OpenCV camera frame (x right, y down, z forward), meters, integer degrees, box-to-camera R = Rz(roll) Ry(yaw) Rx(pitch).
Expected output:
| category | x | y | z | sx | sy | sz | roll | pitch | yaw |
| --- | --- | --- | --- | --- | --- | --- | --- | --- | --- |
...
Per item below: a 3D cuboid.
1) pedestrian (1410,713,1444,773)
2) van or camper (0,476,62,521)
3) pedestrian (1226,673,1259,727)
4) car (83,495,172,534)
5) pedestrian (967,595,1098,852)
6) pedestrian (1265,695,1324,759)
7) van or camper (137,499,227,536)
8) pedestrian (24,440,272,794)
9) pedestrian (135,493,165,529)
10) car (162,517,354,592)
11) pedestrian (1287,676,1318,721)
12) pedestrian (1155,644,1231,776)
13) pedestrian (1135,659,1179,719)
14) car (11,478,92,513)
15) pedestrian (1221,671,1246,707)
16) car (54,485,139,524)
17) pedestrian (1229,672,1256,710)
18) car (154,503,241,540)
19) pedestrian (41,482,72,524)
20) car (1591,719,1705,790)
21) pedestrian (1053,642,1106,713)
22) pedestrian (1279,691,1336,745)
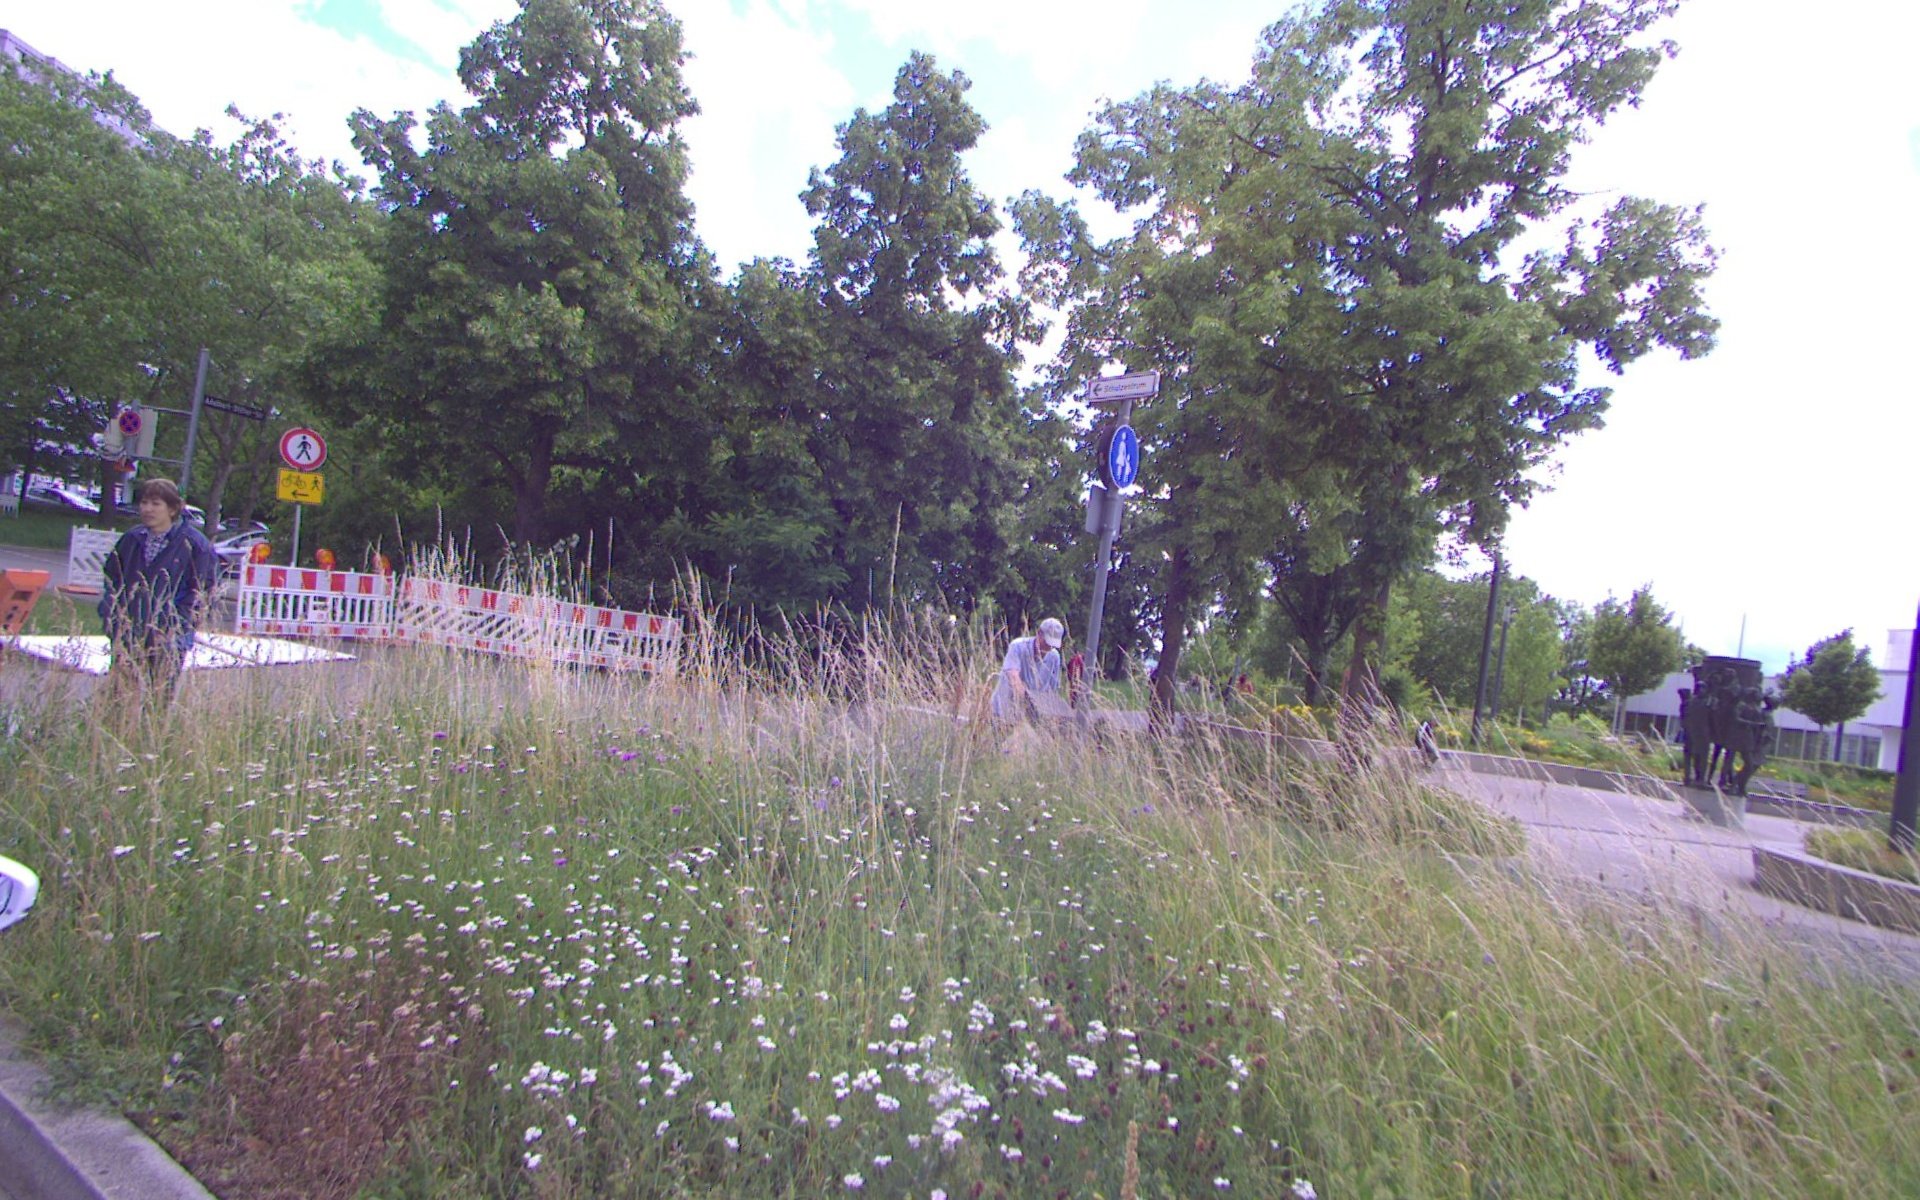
| category | x | y | z | sx | sy | sz | roll | pitch | yaw |
| --- | --- | --- | --- | --- | --- | --- | --- | --- | --- |
| pedestrian | 10.758 | 3.283 | 23.177 | 0.560 | 1.277 | 0.582 | 7 | -1 | 29 |
| van or camper | -44.309 | -4.849 | 46.497 | 3.925 | 1.704 | 1.847 | 8 | -1 | 4 |
| pedestrian | 8.537 | 3.024 | 30.401 | 0.624 | 1.519 | 0.704 | 7 | 0 | 29 |
| car | -43.772 | -4.496 | 52.938 | 3.345 | 1.420 | 1.486 | 7 | -2 | 2 |
| pedestrian | 0.536 | 0.920 | 7.769 | 0.715 | 1.812 | 0.693 | 8 | 0 | -2 |
| pedestrian | 5.221 | 1.965 | 15.689 | 0.685 | 0.874 | 0.651 | 7 | 0 | 28 |
| van or camper | -43.646 | -4.614 | 56.511 | 3.706 | 1.372 | 1.519 | 8 | -2 | -1 |
| pedestrian | -4.494 | 0.100 | 5.660 | 0.720 | 1.761 | 0.949 | 8 | -1 | -27 |
| pedestrian | -46.599 | -5.127 | 57.879 | 1.069 | 1.893 | 1.047 | 8 | -2 | -43 |
| car | -21.396 | -1.342 | 30.857 | 1.744 | 1.604 | 4.405 | 6 | -2 | 33 |
| pedestrian | 14.027 | 4.029 | 41.221 | 0.974 | 1.671 | 0.871 | 7 | 0 | 21 |
| pedestrian | 3.269 | 1.529 | 14.077 | 0.685 | 1.715 | 0.651 | 7 | 0 | 28 |
| pedestrian | 5.981 | 2.695 | 30.571 | 0.974 | 1.671 | 0.871 | 7 | 0 | 21 |
| car | -54.441 | -6.251 | 60.327 | 3.345 | 1.420 | 1.486 | 7 | -2 | 1 |
| pedestrian | 13.843 | 4.488 | 50.898 | 0.974 | 1.671 | 0.871 | 7 | 0 | 21 |
| car | -54.459 | -5.994 | 63.460 | 3.751 | 1.653 | 1.674 | 9 | -1 | 1 |
| pedestrian | 13.475 | 4.325 | 48.002 | 0.974 | 1.671 | 0.871 | 7 | 0 | 21 |
| car | -44.635 | -4.600 | 58.896 | 3.820 | 1.482 | 1.486 | 7 | -1 | 1 |
| pedestrian | -47.384 | -5.067 | 52.754 | 0.839 | 2.025 | 0.806 | 7 | -1 | 29 |
| car | 22.780 | 5.072 | 33.465 | 1.606 | 1.786 | 3.509 | 7 | -2 | 9 |
| pedestrian | 3.069 | 1.977 | 25.851 | 0.974 | 1.671 | 0.871 | 7 | 0 | 21 |
| pedestrian | 7.158 | 2.428 | 20.742 | 0.703 | 0.959 | 0.747 | 8 | -1 | -21 |
